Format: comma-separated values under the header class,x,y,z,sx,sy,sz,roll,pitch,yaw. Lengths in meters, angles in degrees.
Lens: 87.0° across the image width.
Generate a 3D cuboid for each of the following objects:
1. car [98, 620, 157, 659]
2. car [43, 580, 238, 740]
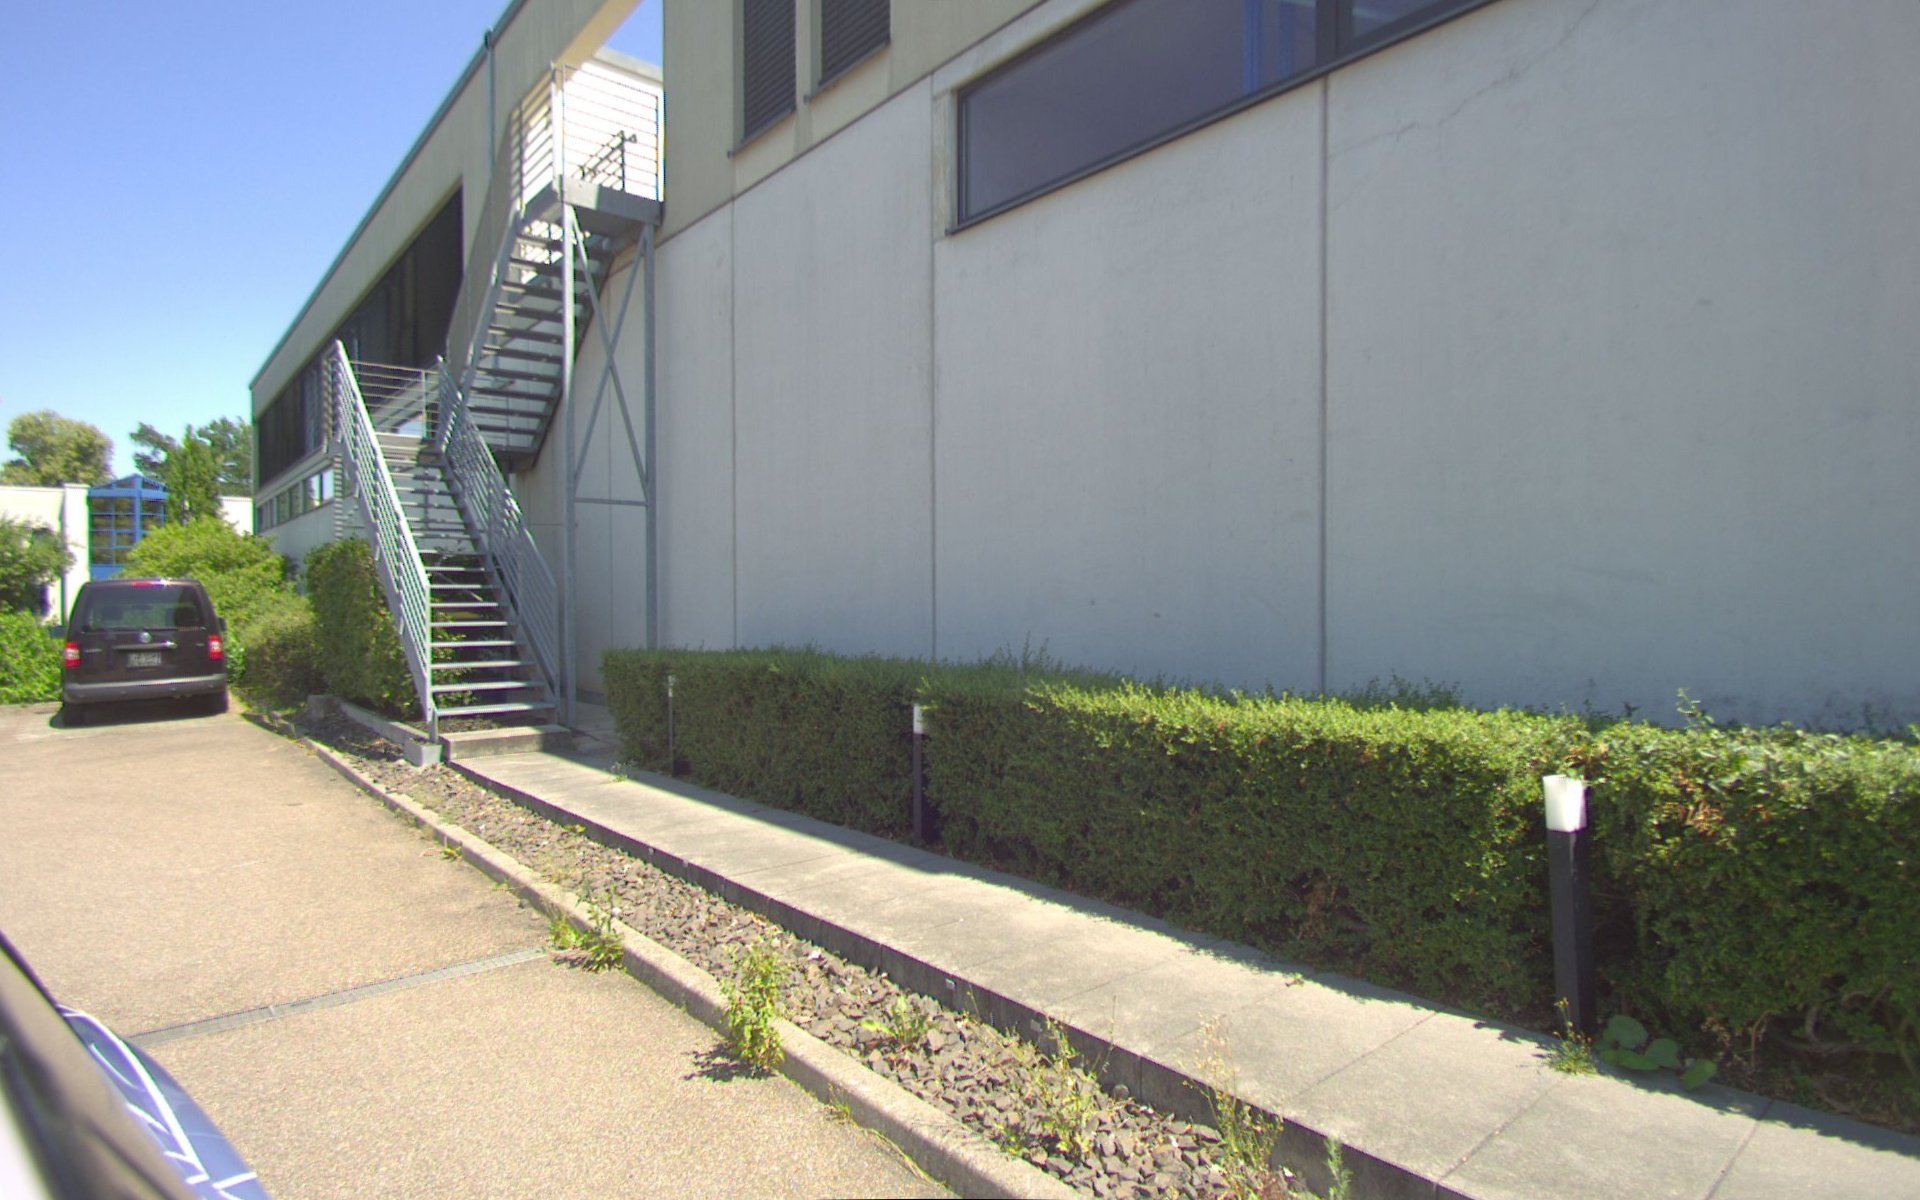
class,x,y,z,sx,sy,sz,roll,pitch,yaw
car,-38.807,1.799,47.149,1.810,1.579,4.003,-1,2,-44
car,-11.511,0.715,14.163,1.840,1.874,4.235,-2,1,-41
